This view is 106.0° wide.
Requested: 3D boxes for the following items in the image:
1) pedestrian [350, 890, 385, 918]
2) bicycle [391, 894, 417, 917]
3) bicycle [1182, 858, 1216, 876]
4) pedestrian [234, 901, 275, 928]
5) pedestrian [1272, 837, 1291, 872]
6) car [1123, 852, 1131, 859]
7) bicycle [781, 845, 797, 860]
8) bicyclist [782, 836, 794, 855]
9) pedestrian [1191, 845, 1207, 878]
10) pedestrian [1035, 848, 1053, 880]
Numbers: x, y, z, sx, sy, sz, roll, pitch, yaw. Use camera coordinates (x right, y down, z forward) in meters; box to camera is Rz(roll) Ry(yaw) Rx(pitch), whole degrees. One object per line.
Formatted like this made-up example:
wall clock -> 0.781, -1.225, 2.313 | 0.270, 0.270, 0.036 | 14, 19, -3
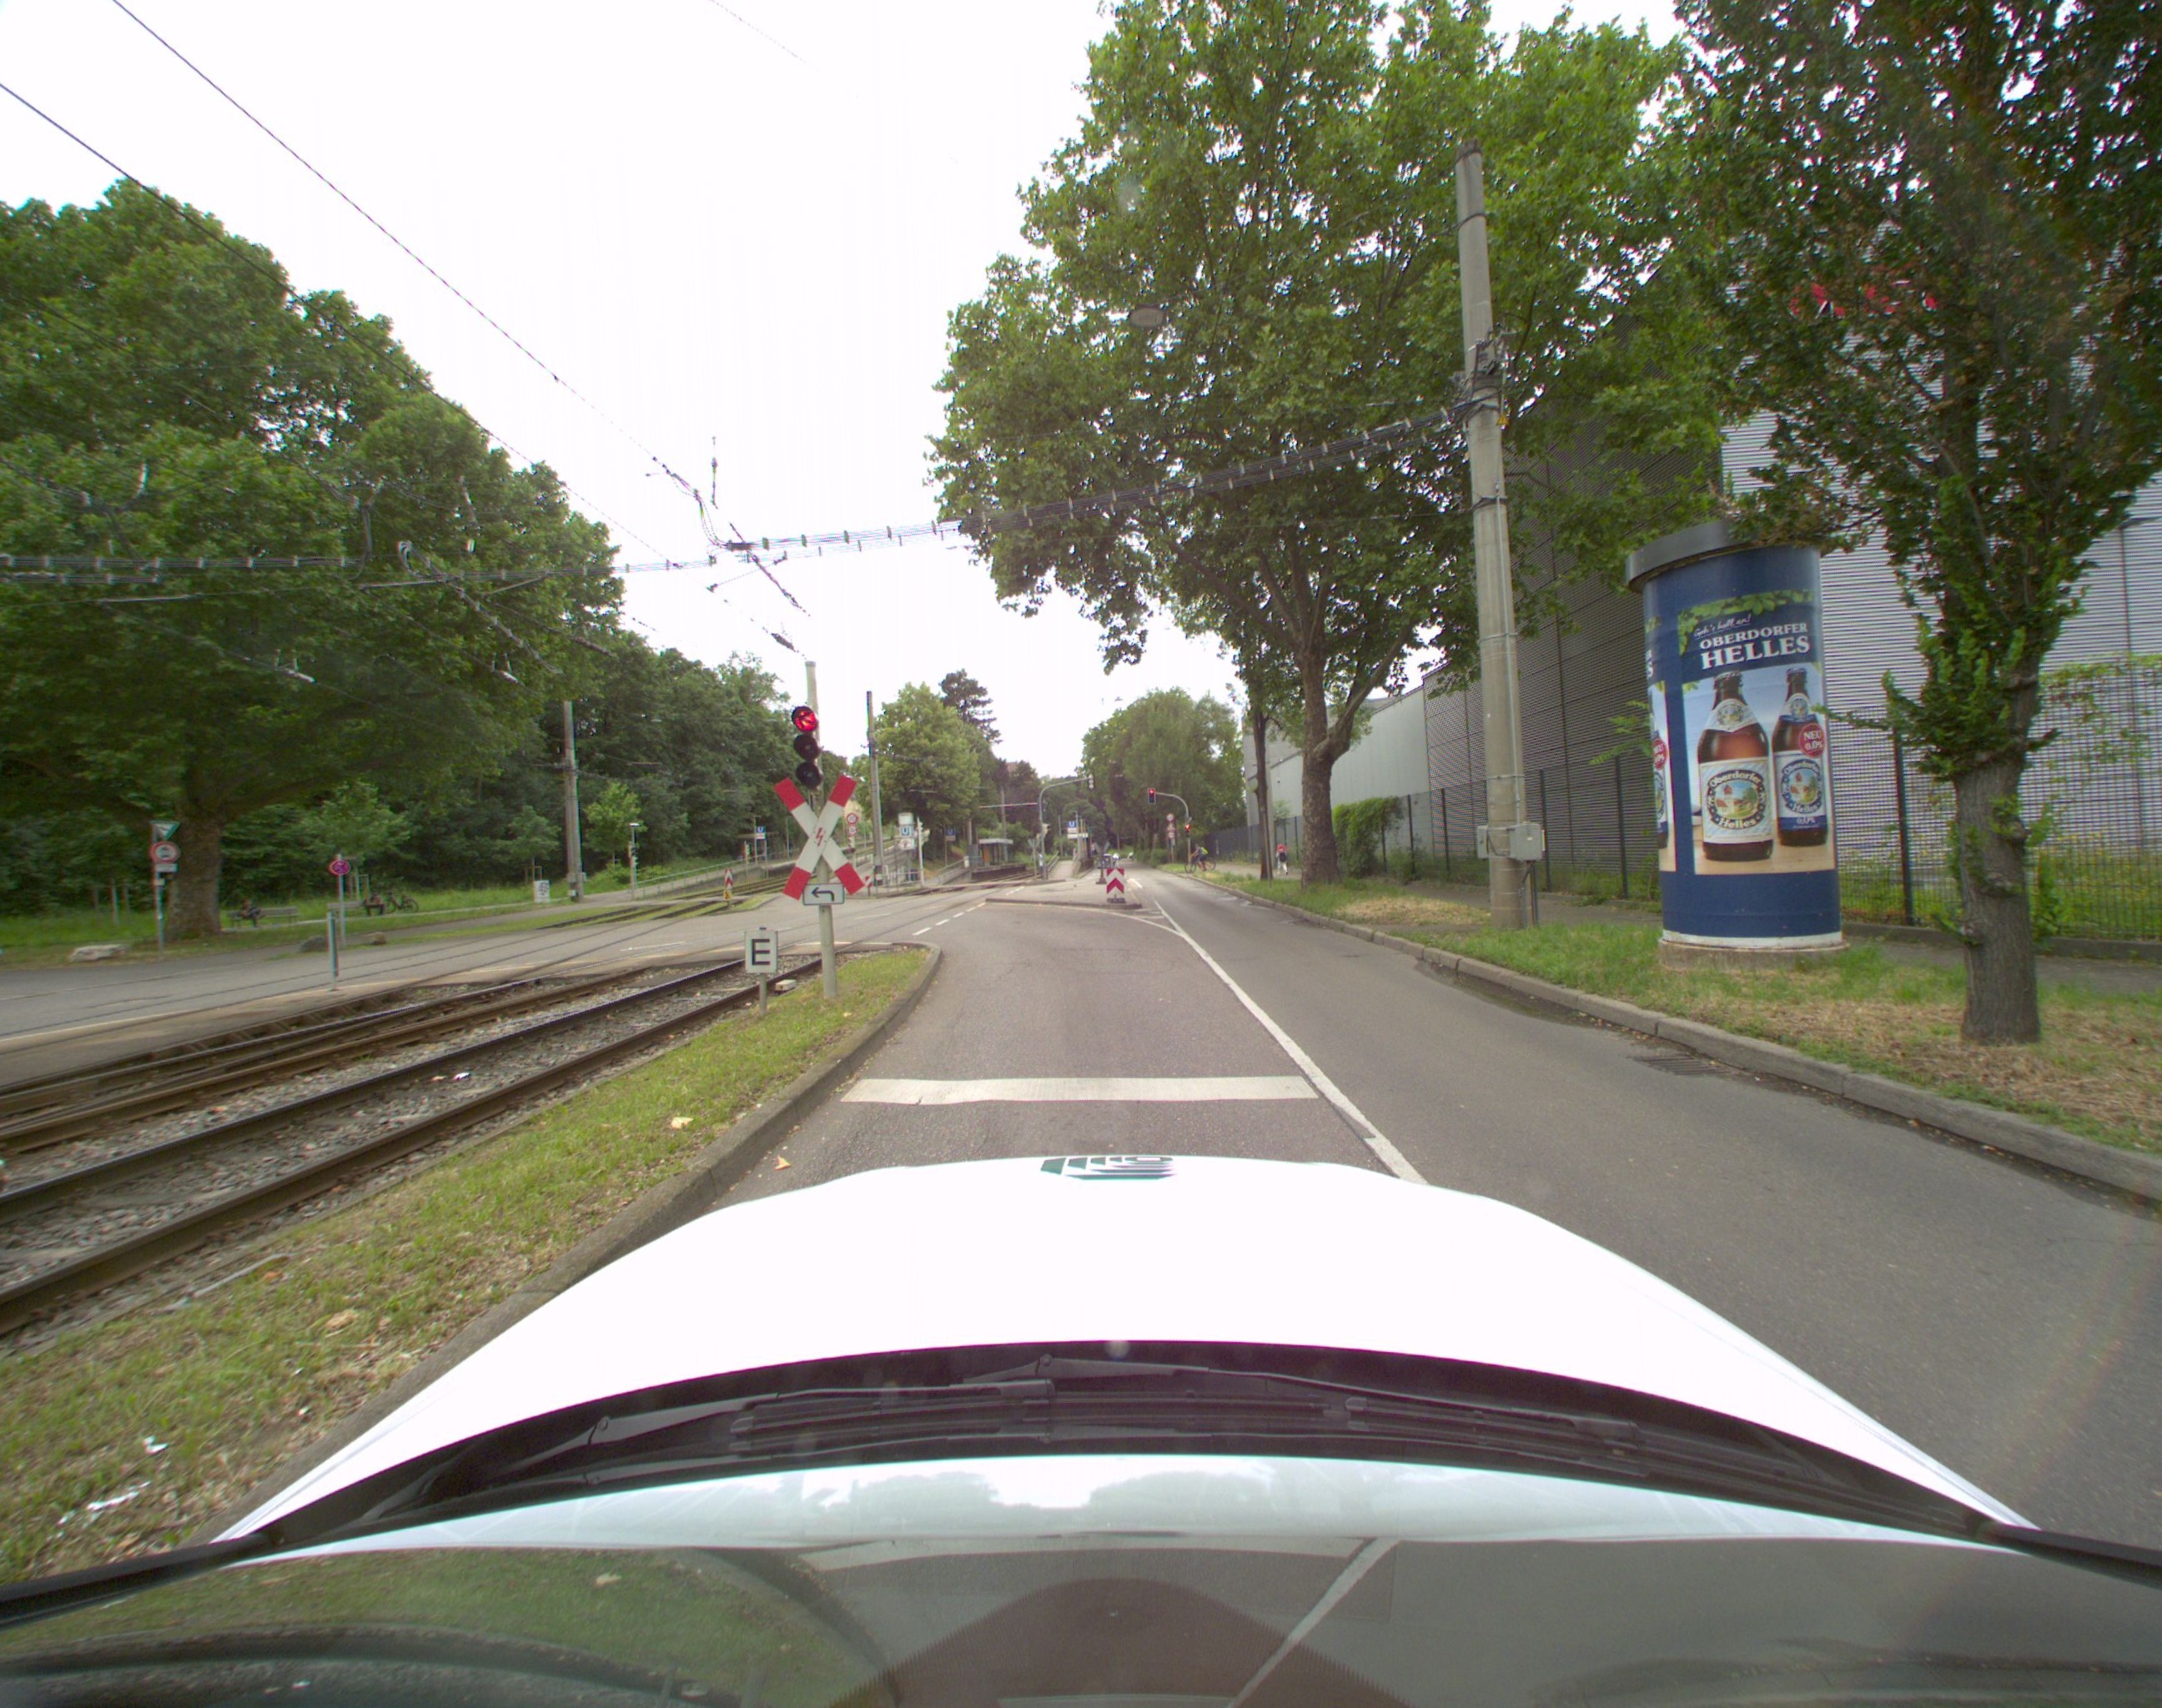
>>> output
pedestrian -> -33.517, 2.326, 38.262 | 1.102, 1.268, 1.063 | -2, -1, 39
bicycle -> -32.614, 2.470, 39.221 | 1.631, 1.012, 0.680 | -2, -1, 39
bicycle -> 7.421, 0.798, 51.203 | 2.063, 1.007, 0.669 | -3, 0, 7
pedestrian -> -35.070, 2.554, 34.558 | 0.894, 1.095, 1.088 | -2, -1, 37
pedestrian -> 9.190, 0.017, 37.329 | 0.662, 1.553, 0.936 | -3, 0, 7
car -> 12.714, 0.459, 224.756 | 1.985, 1.662, 4.003 | 3, 1, 3
bicycle -> -29.704, -0.205, 82.865 | 0.823, 1.343, 2.990 | -4, 3, -6
bicyclist -> -29.697, -0.857, 82.550 | 0.820, 1.848, 1.049 | -3, 2, -6
pedestrian -> 7.417, 0.481, 51.214 | 0.926, 2.013, 0.669 | -3, 0, 7
pedestrian -> -2.159, 0.580, 47.862 | 0.904, 1.852, 0.771 | -3, 0, 2
